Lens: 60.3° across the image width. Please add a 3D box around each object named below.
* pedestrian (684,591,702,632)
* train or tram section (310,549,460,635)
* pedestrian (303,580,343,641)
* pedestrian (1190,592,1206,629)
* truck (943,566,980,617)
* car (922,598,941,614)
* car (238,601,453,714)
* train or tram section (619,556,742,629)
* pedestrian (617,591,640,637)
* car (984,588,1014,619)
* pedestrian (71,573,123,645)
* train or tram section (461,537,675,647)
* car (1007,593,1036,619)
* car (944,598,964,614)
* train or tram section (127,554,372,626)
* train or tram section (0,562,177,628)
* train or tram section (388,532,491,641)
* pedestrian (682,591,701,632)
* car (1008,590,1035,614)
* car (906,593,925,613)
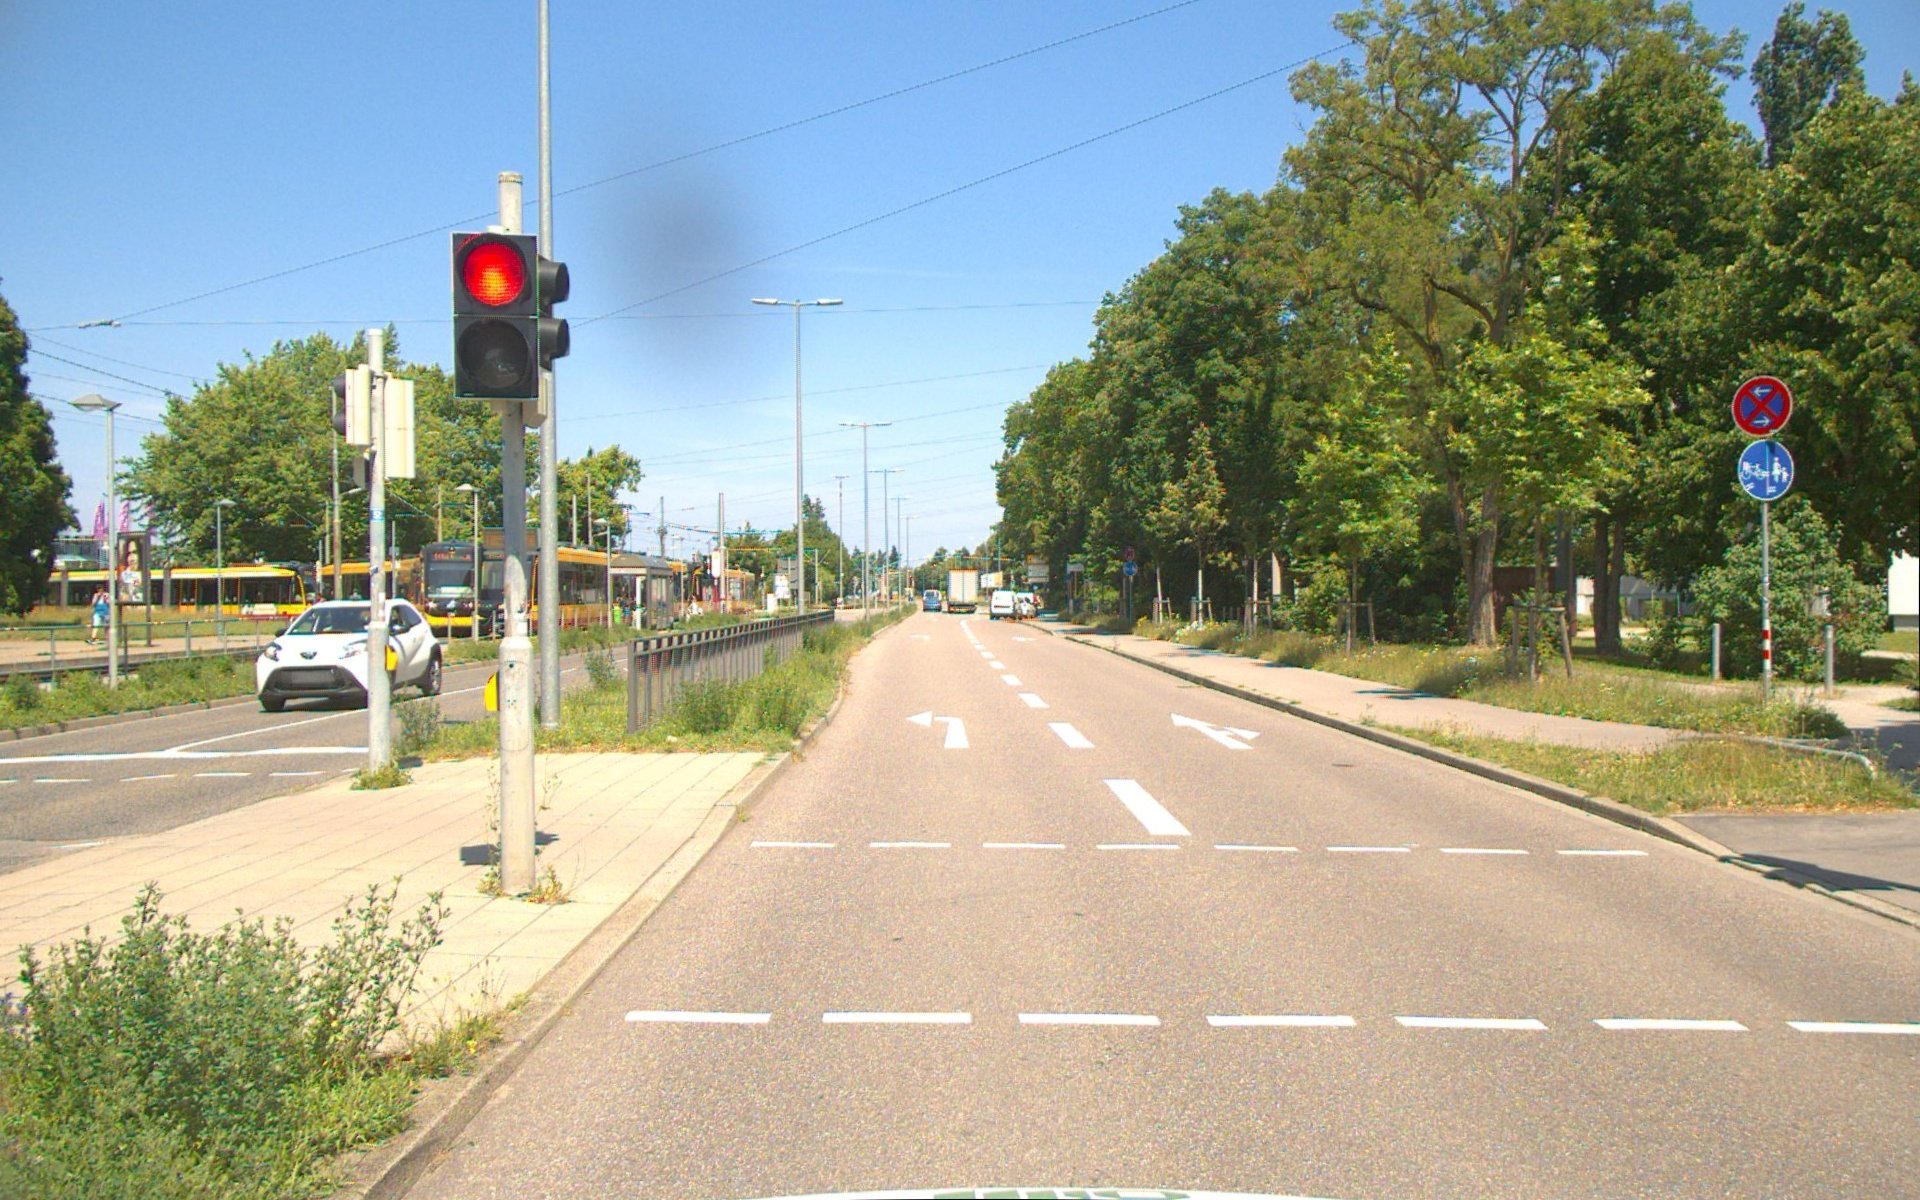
[{"bbox_3d":[-13.464,0.588,83.437,0.798,2.049,0.938,0,0,-1],"label":"pedestrian"},{"bbox_3d":[-30.227,-0.382,86.055,3.186,4.000,18.289,0,0,-33],"label":"train or tram section"},{"bbox_3d":[-21.632,0.338,56.149,0.961,2.049,1.021,0,0,-1],"label":"pedestrian"},{"bbox_3d":[9.543,0.413,66.390,0.591,1.463,0.556,0,0,6],"label":"pedestrian"},{"bbox_3d":[0.075,-0.735,146.062,3.140,4.435,6.559,0,0,-1],"label":"truck"},{"bbox_3d":[-2.680,0.518,157.833,1.774,1.490,3.999,0,0,-1],"label":"car"},{"bbox_3d":[-8.962,0.780,24.455,1.807,1.521,3.790,0,0,-1],"label":"car"},{"bbox_3d":[-16.911,-0.446,103.714,2.871,3.856,33.078,0,0,-1],"label":"train or tram section"},{"bbox_3d":[-13.849,0.591,69.079,0.769,1.901,0.817,0,0,-1],"label":"pedestrian"},{"bbox_3d":[2.456,0.218,105.546,1.743,1.937,3.999,0,0,-1],"label":"car"},{"bbox_3d":[-24.786,0.254,47.525,0.961,2.049,1.021,0,0,-1],"label":"pedestrian"},{"bbox_3d":[-16.159,-0.328,72.266,2.898,3.815,30.024,0,0,-1],"label":"train or tram section"},{"bbox_3d":[4.185,0.395,112.499,1.743,1.698,3.999,0,0,-1],"label":"car"},{"bbox_3d":[-0.585,0.558,153.596,1.774,1.490,3.999,0,0,-1],"label":"car"},{"bbox_3d":[-42.122,-0.533,97.453,18.097,4.000,3.219,0,0,31],"label":"train or tram section"},{"bbox_3d":[-57.605,-0.280,106.599,18.096,4.000,3.220,0,0,30],"label":"train or tram section"},{"bbox_3d":[-22.184,-0.512,69.679,3.169,4.000,18.385,0,0,-21],"label":"train or tram section"},{"bbox_3d":[-13.741,0.589,84.726,0.798,2.049,0.938,0,0,-1],"label":"pedestrian"},{"bbox_3d":[4.409,0.115,118.851,1.743,1.698,3.999,0,0,-1],"label":"car"},{"bbox_3d":[-4.691,0.327,175.086,1.953,2.049,3.999,0,0,-1],"label":"car"}]
